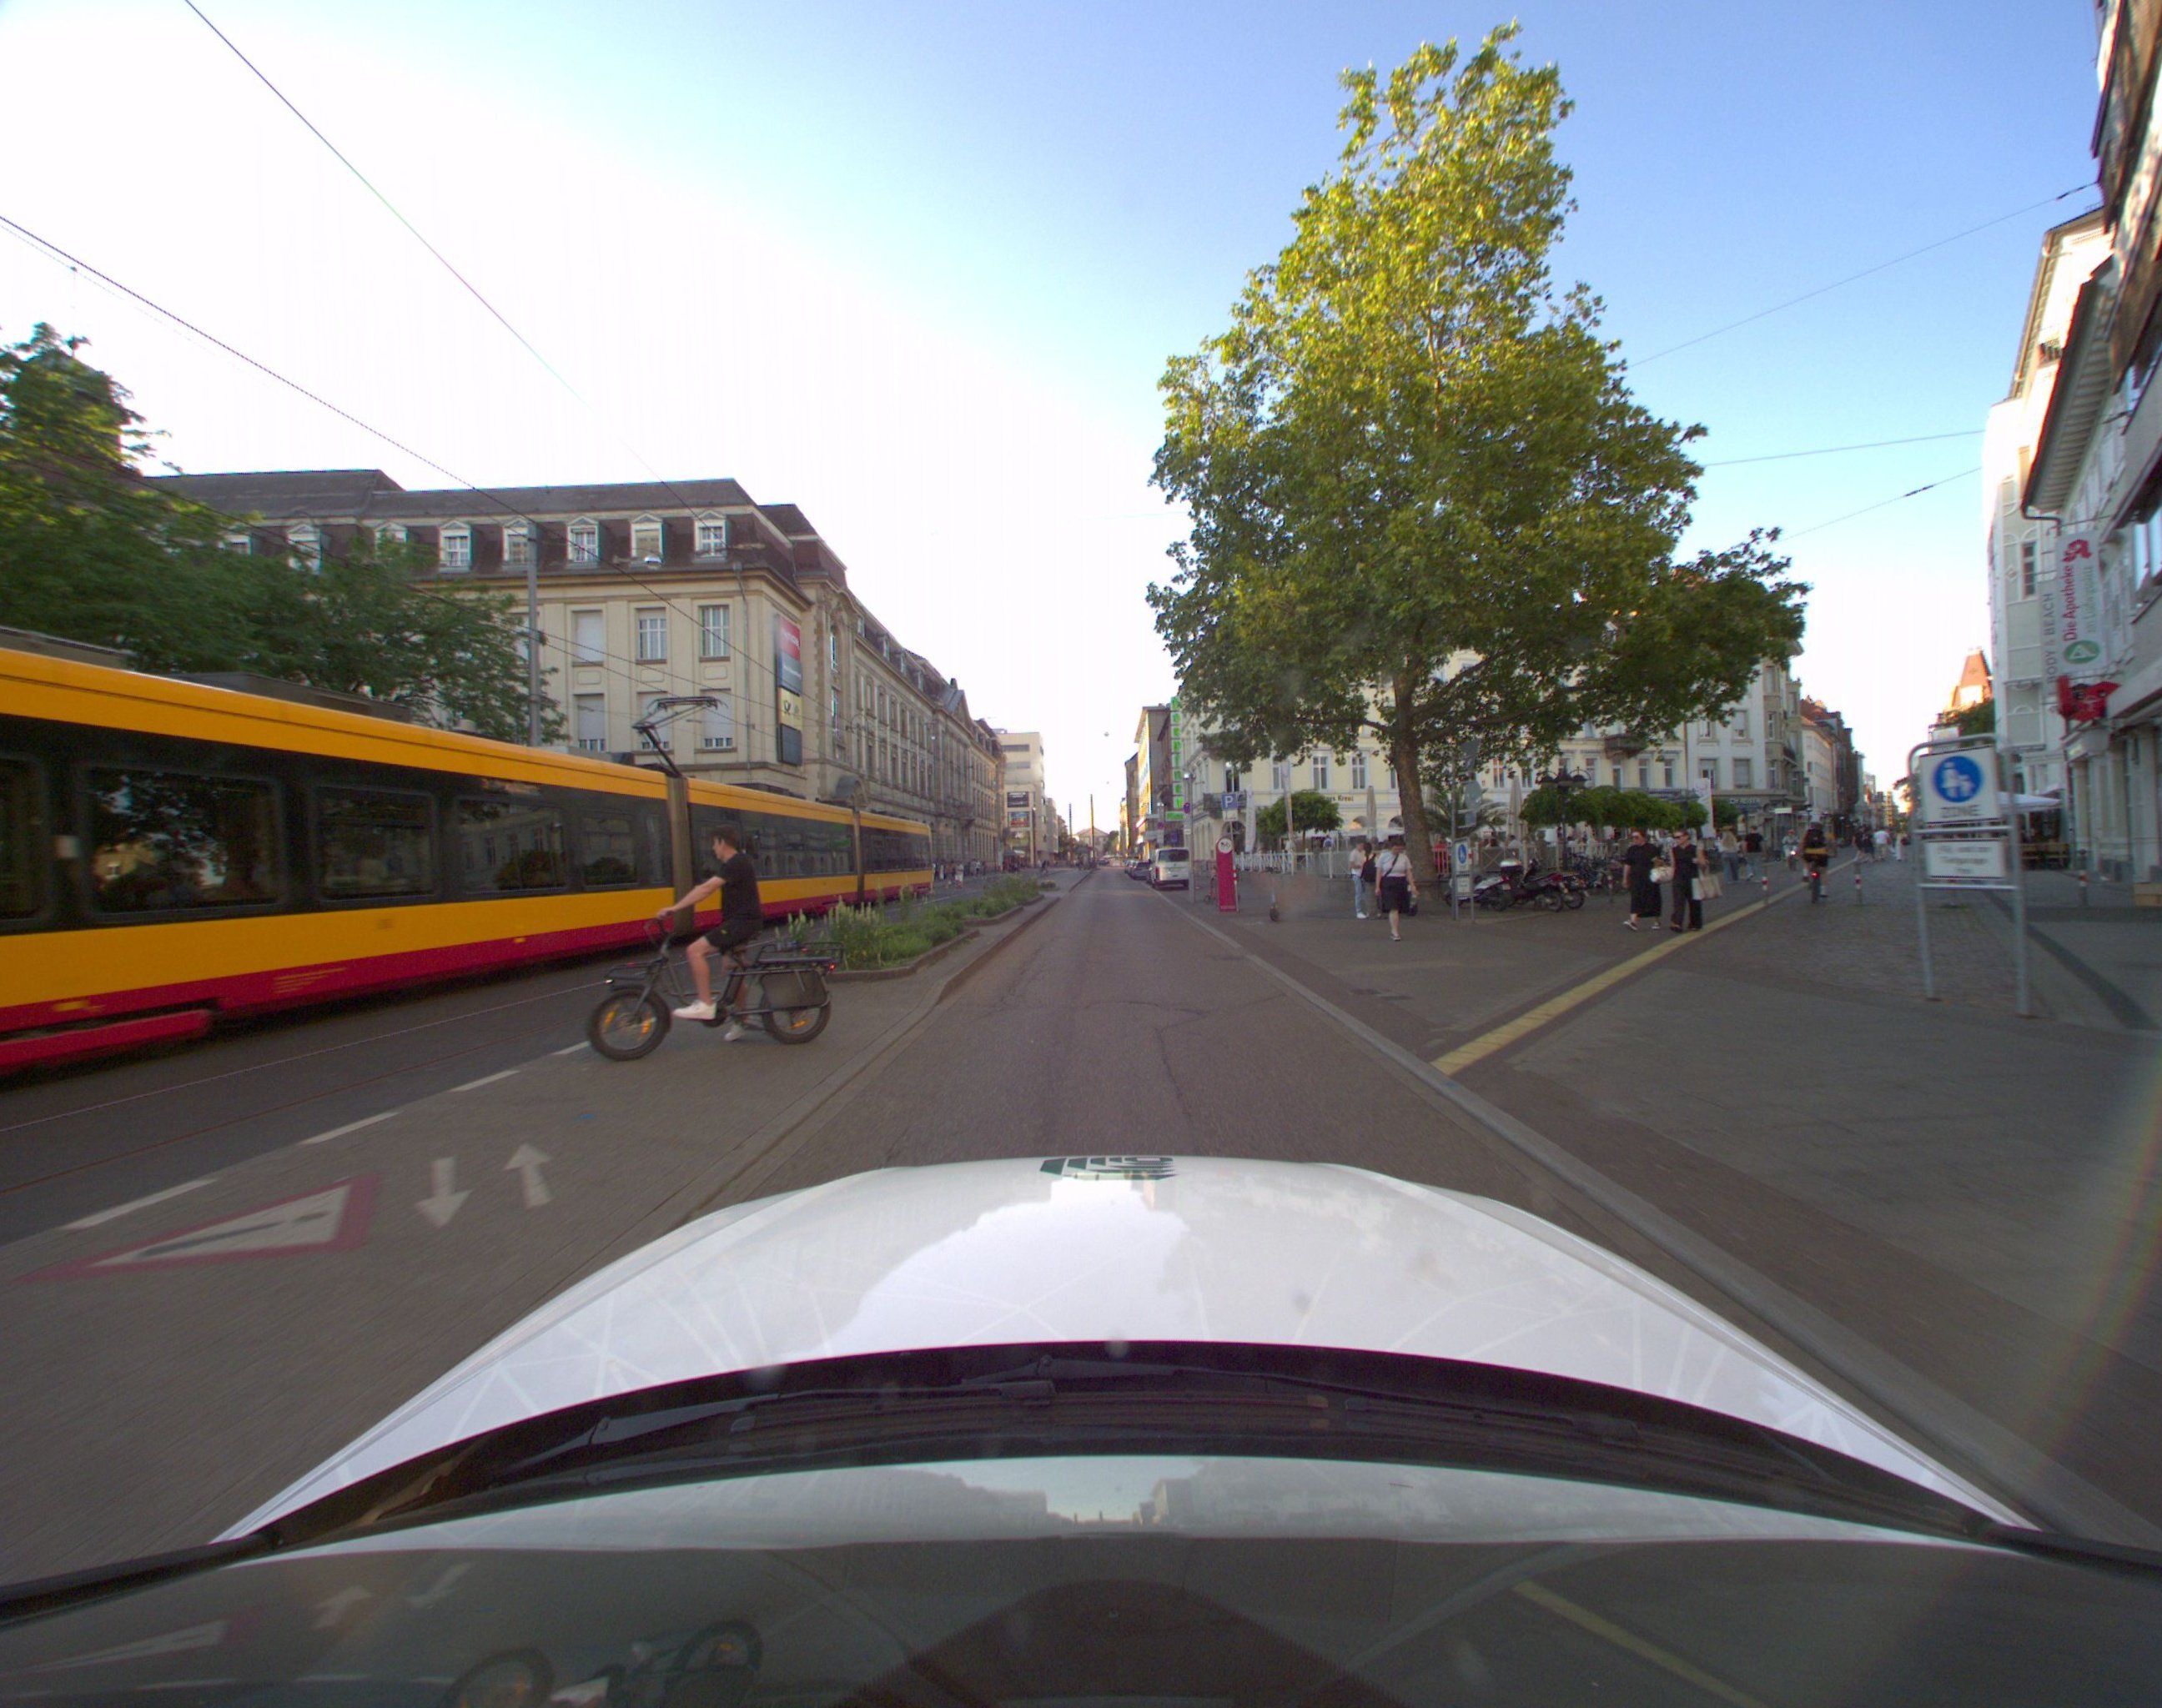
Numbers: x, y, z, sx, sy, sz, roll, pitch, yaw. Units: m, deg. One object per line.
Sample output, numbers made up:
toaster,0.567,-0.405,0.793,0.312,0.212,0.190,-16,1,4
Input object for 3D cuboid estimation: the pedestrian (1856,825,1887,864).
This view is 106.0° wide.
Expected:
pedestrian,38.971,-0.459,40.152,0.666,1.832,0.764,-3,-2,10

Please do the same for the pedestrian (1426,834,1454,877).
pedestrian,11.008,0.053,24.975,0.639,1.285,0.744,-3,-3,18

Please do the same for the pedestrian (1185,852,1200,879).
pedestrian,7.706,0.802,56.207,0.785,1.751,0.893,-2,-2,-5

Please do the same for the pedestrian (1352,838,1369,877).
pedestrian,10.121,0.138,29.484,0.470,1.364,0.542,-3,-3,16

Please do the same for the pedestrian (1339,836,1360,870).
pedestrian,13.467,-0.032,40.821,0.754,1.644,0.659,-2,-2,1

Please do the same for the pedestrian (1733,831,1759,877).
pedestrian,23.969,0.001,29.353,0.606,1.611,0.531,0,-3,-41

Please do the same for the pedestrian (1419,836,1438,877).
pedestrian,11.373,0.092,26.632,0.473,1.285,0.528,-3,-3,19

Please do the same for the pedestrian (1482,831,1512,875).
pedestrian,12.650,-0.022,24.797,0.639,1.285,0.744,-3,-3,18

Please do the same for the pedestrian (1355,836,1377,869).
pedestrian,14.305,-0.067,40.920,0.755,1.644,0.658,-2,-2,-3

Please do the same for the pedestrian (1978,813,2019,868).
pedestrian,30.712,-0.434,27.269,0.621,1.787,0.572,-2,-2,-7

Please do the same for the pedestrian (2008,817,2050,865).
pedestrian,32.905,-0.443,28.260,0.619,1.596,0.757,-1,-3,-29

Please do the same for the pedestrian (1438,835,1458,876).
pedestrian,11.800,0.054,26.210,0.470,1.285,0.542,-3,-3,18

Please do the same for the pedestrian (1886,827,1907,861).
pedestrian,46.668,-0.561,46.608,0.690,1.865,0.767,-4,-3,42

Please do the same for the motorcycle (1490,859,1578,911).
motorcycle,10.454,0.695,18.844,0.553,1.151,1.783,-1,0,-24

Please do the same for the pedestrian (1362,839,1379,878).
pedestrian,10.053,0.153,28.257,0.470,1.330,0.542,-3,-3,16

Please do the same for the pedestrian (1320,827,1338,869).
pedestrian,13.659,-0.329,44.794,0.614,2.305,0.577,-1,-3,-20

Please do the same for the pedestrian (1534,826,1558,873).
pedestrian,14.255,-0.136,24.994,0.470,1.400,0.542,-3,-3,18

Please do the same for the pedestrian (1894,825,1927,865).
pedestrian,41.563,-0.439,40.800,0.829,1.969,0.767,-5,-3,29

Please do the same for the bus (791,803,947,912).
bus,-8.168,0.250,33.544,2.811,3.613,11.827,-2,-1,2

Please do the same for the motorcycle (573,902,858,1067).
motorcycle,-2.944,1.003,6.720,2.054,1.123,0.563,-1,-3,-25

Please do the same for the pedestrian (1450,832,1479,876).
pedestrian,11.621,0.016,24.719,0.639,1.285,0.744,-3,-3,18

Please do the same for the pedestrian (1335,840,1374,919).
pedestrian,6.124,0.562,18.267,0.611,1.717,0.662,-2,-2,3

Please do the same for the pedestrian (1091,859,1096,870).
pedestrian,1.774,1.558,118.548,0.611,1.523,0.619,-2,-2,-7

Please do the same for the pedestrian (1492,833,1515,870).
pedestrian,14.797,-0.078,28.532,0.535,1.285,0.477,-3,-2,11

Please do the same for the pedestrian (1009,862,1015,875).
pedestrian,-8.842,1.882,104.397,0.777,1.580,0.676,-2,-1,-10

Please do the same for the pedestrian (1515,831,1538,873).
pedestrian,14.191,-0.052,25.958,0.470,1.285,0.542,-3,-3,18

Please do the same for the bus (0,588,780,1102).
bus,-8.892,0.005,10.760,2.811,3.651,17.080,-2,0,2

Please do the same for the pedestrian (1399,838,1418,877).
pedestrian,11.120,0.134,27.639,0.470,1.285,0.542,-3,-3,16

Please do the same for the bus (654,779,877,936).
bus,-8.538,0.129,23.467,2.811,3.625,8.292,-2,-1,2

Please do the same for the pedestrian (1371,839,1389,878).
pedestrian,10.140,0.153,27.643,0.470,1.285,0.542,-3,-3,16

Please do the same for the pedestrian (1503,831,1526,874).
pedestrian,13.495,-0.037,25.348,0.470,1.285,0.542,-3,-3,18

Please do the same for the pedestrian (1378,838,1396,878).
pedestrian,10.156,0.130,27.018,0.470,1.285,0.542,-3,-3,16

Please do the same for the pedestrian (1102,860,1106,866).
pedestrian,6.183,2.397,217.485,0.773,1.734,0.818,-4,-3,42

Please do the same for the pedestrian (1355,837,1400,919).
pedestrian,6.372,0.521,17.551,0.675,1.717,0.655,-2,-2,4

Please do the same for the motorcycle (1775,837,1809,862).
motorcycle,31.303,-0.182,35.868,0.346,1.033,1.588,-3,-2,11

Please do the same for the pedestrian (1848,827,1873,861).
pedestrian,39.478,-0.495,41.244,0.604,1.700,0.595,-3,-2,10

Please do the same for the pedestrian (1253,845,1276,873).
pedestrian,8.998,0.274,39.990,0.899,1.314,0.967,-2,-2,1

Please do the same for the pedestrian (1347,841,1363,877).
pedestrian,10.139,0.184,30.104,0.470,1.305,0.542,-3,-3,16

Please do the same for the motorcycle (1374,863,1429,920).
motorcycle,7.035,0.788,17.960,0.453,1.158,2.032,-2,0,2

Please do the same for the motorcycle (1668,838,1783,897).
motorcycle,14.582,0.306,18.490,0.565,1.282,1.936,-1,-1,-35

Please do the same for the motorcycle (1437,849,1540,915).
motorcycle,9.390,0.603,18.901,0.567,1.423,2.278,-1,0,-24

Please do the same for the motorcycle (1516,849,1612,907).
motorcycle,11.313,0.550,19.138,0.563,1.282,1.942,-1,-1,-24

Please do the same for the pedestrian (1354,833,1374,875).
pedestrian,10.835,-0.004,31.161,0.614,1.571,0.633,-3,-3,16

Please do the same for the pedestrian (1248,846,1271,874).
pedestrian,9.005,0.312,41.062,0.899,1.306,0.967,-2,-2,1

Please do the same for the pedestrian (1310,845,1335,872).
pedestrian,12.000,0.218,40.509,0.960,1.267,0.905,-2,-2,1

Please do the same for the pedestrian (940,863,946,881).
pedestrian,-12.746,1.661,75.255,0.517,1.672,0.480,-1,-1,-14

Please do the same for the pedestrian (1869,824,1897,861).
pedestrian,40.986,-0.591,41.633,0.741,1.810,0.767,-3,-3,27
